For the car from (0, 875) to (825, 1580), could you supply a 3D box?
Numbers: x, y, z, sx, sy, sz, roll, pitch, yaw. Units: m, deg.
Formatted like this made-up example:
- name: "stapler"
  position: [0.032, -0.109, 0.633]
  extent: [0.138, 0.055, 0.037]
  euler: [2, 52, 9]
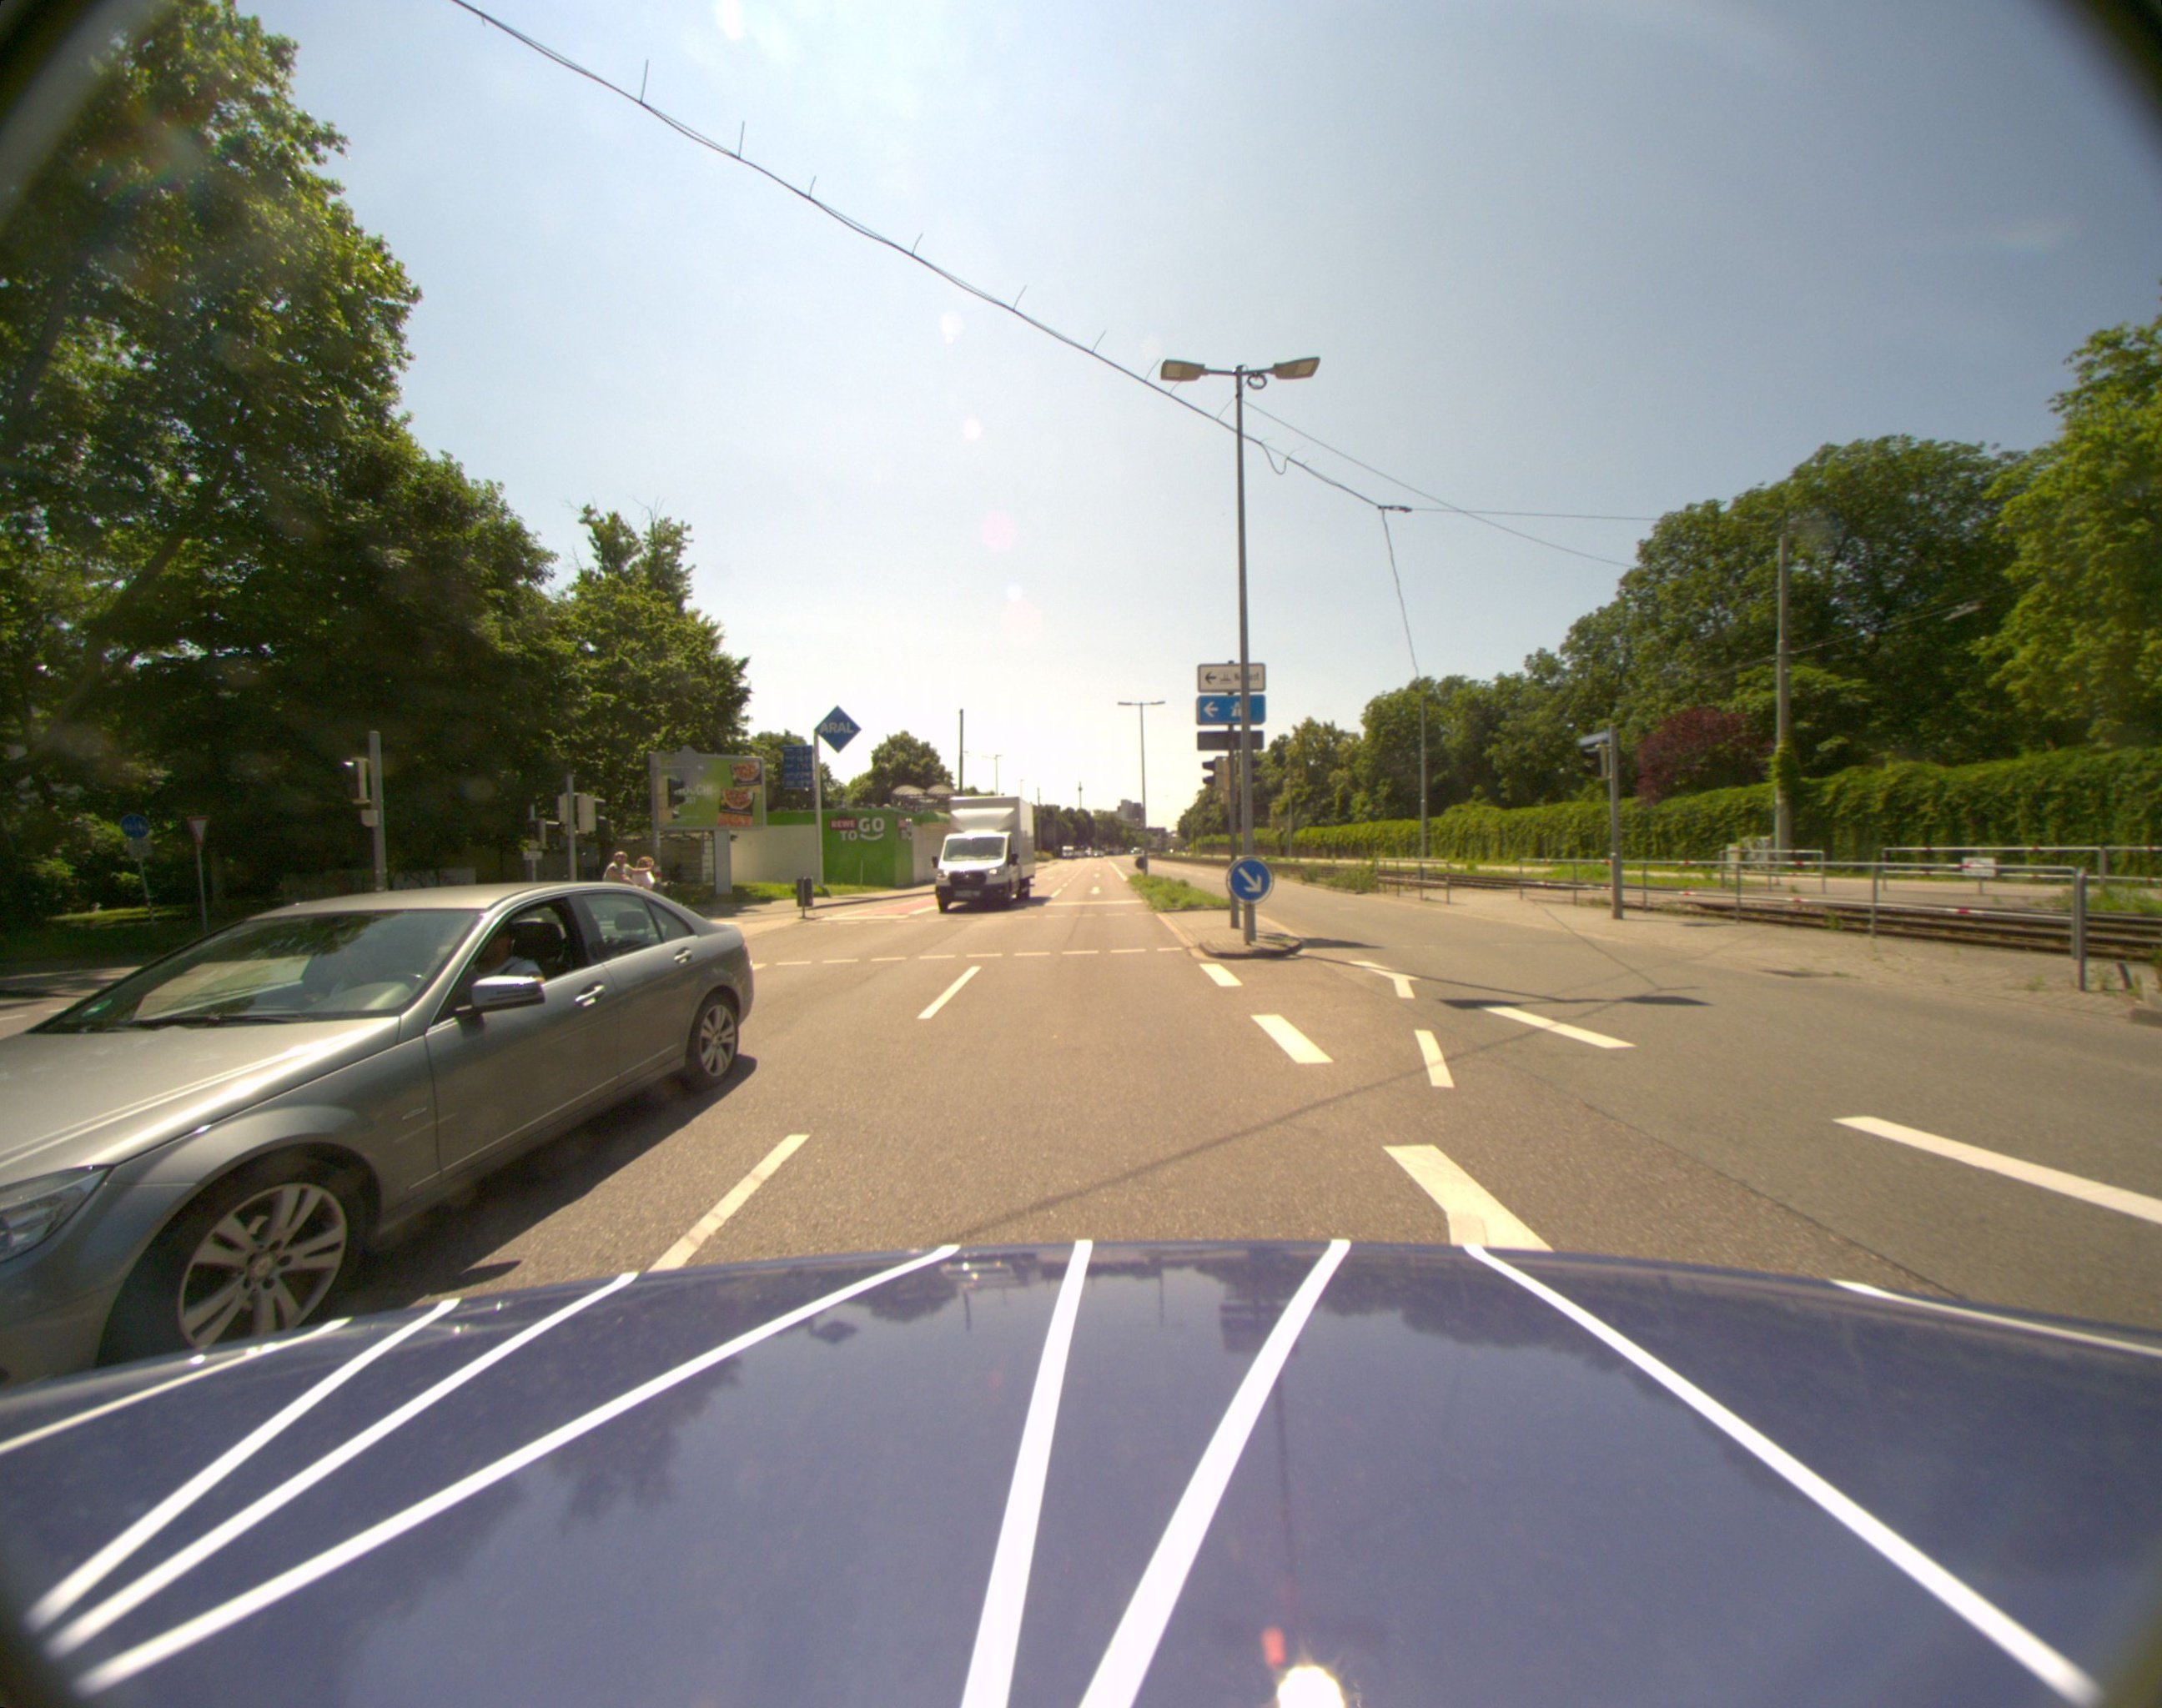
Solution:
- name: "car"
  position: [-3.293, 0.984, 4.127]
  extent: [1.717, 1.464, 5.302]
  euler: [-4, 0, 2]

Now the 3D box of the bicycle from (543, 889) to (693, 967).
- name: "bicycle"
  position: [-7.886, 1.246, 13.014]
  extent: [1.955, 1.152, 0.895]
  euler: [-2, 1, -1]

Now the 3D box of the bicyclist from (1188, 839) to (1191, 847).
- name: "bicyclist"
  position: [20.548, -2.060, 144.185]
  extent: [0.483, 1.603, 0.769]
  euler: [-3, 2, 3]

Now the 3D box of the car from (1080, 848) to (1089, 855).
- name: "car"
  position: [0.862, -0.693, 177.639]
  extent: [1.912, 1.488, 4.000]
  euler: [-3, 1, 4]

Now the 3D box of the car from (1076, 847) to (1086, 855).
- name: "car"
  position: [0.031, -0.651, 168.657]
  extent: [1.912, 1.488, 4.000]
  euler: [-3, 1, 4]

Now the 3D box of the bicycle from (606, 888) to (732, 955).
- name: "bicycle"
  position: [-7.730, 1.253, 14.303]
  extent: [1.870, 1.118, 0.895]
  euler: [-2, 1, 9]

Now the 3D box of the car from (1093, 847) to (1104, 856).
- name: "car"
  position: [3.632, -0.616, 156.415]
  extent: [1.947, 1.674, 3.999]
  euler: [-3, 1, 0]

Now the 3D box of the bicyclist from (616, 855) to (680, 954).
- name: "bicyclist"
  position: [-8.113, 0.935, 14.276]
  extent: [0.578, 1.778, 0.768]
  euler: [-3, 1, 9]

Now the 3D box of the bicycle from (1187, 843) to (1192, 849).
- name: "bicycle"
  position: [20.563, -1.546, 144.234]
  extent: [0.617, 1.049, 1.978]
  euler: [-3, 1, 2]

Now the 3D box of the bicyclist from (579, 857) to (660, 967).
- name: "bicyclist"
  position: [-7.936, 0.969, 13.120]
  extent: [0.726, 1.778, 0.976]
  euler: [-2, 1, -1]

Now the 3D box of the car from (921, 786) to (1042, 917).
- name: "car"
  position: [-2.828, -0.105, 24.189]
  extent: [2.229, 3.316, 8.636]
  euler: [-3, 1, 2]

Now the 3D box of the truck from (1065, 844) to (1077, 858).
- name: "truck"
  position: [-1.884, -0.550, 143.564]
  extent: [1.998, 2.462, 5.237]
  euler: [-3, 1, 2]
